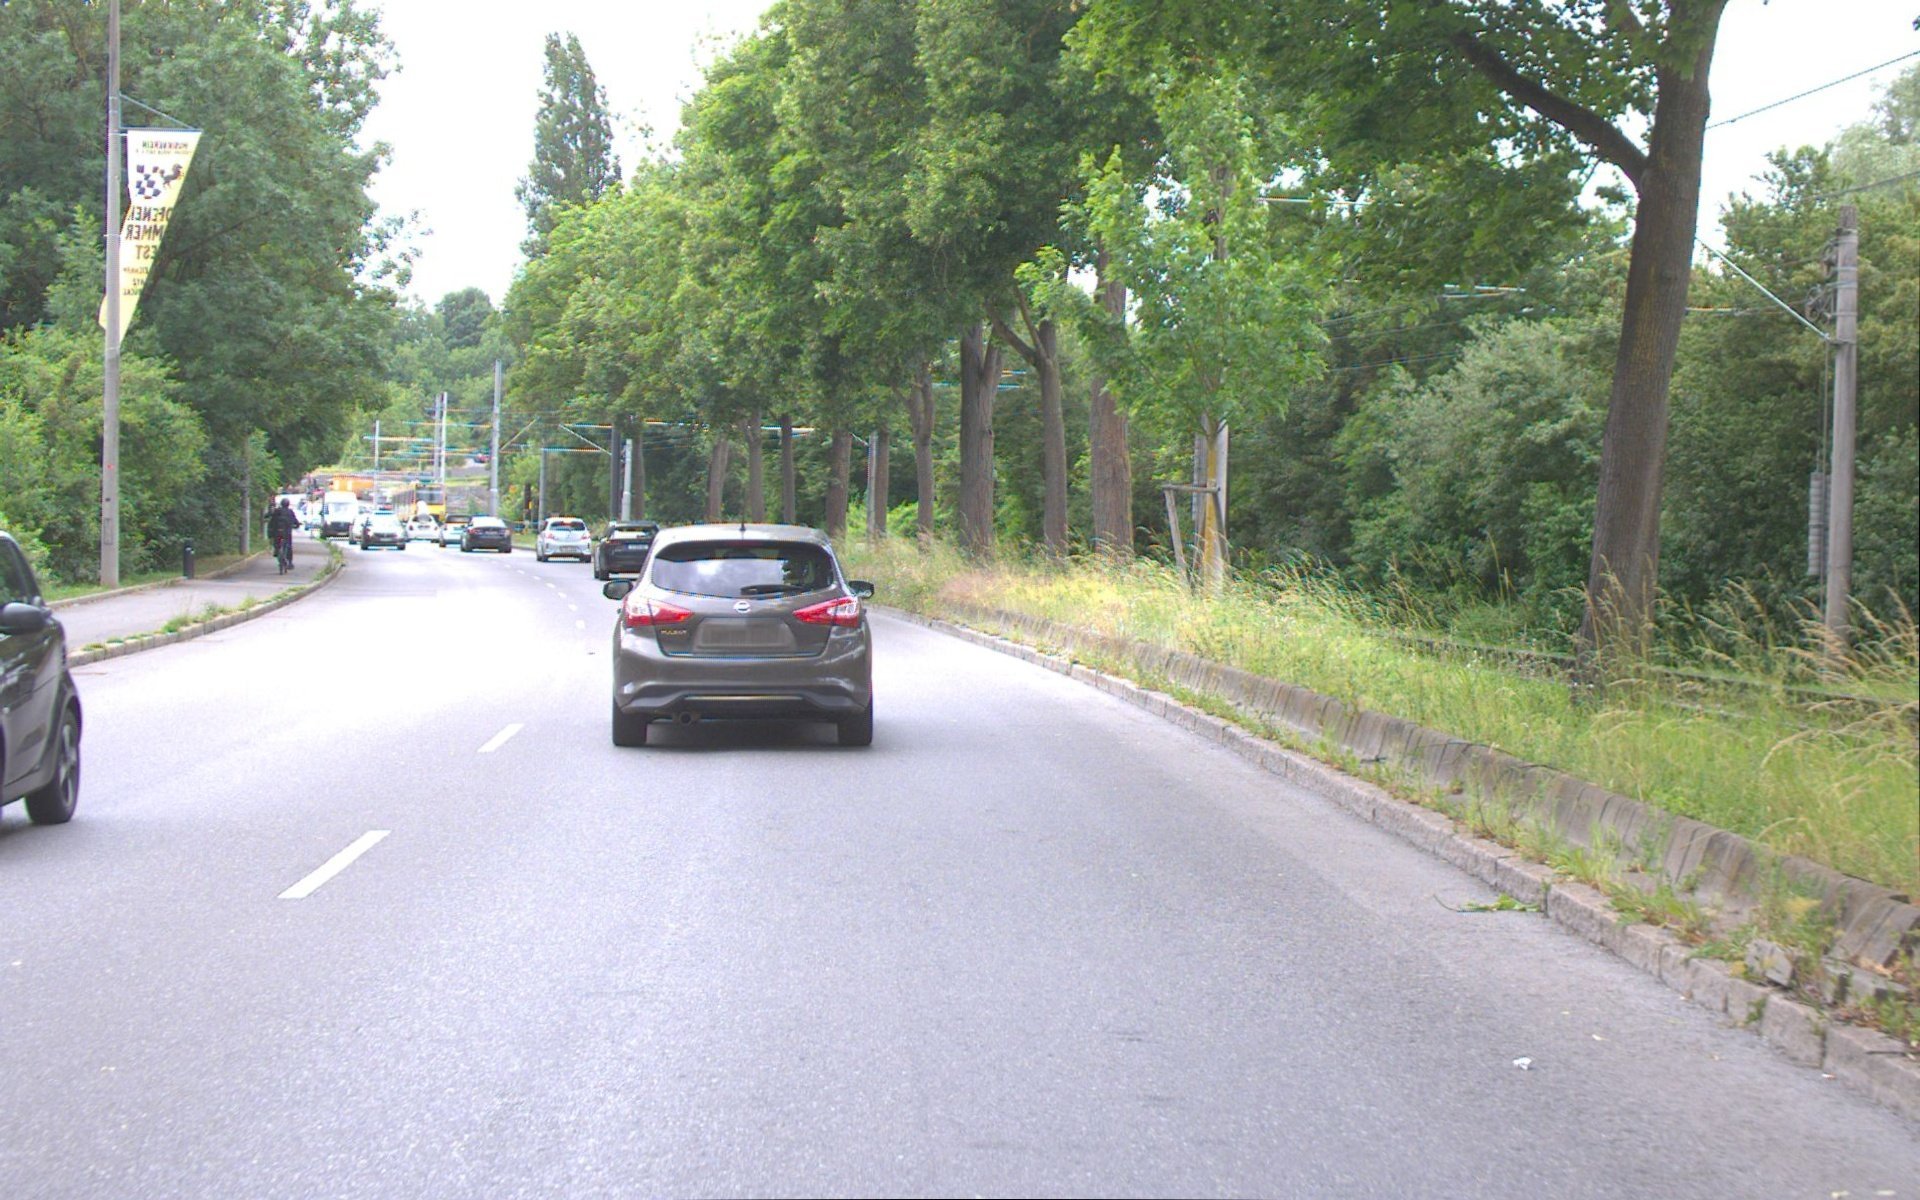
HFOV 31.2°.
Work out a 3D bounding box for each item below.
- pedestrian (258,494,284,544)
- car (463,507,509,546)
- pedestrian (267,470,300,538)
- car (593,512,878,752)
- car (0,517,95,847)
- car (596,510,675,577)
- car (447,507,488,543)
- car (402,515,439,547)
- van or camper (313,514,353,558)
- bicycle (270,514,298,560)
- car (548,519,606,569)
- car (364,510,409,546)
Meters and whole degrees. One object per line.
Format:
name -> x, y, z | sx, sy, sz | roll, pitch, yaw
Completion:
pedestrian -> -23.115, -2.712, 115.366 | 0.695, 1.616, 0.684 | 3, 2, -7
car -> -19.731, -3.067, 143.068 | 1.775, 1.467, 4.001 | 3, 2, -8
pedestrian -> -15.948, -2.268, 81.075 | 0.617, 1.566, 0.849 | 3, 2, -6
car -> -1.682, 0.162, 24.542 | 1.815, 1.503, 4.001 | 0, 2, -7
car -> -5.203, 0.350, 16.339 | 1.595, 1.500, 3.029 | 0, 1, -4
car -> -8.023, -1.428, 85.217 | 1.775, 1.467, 4.001 | 3, 2, -4
car -> -22.485, -3.435, 156.883 | 1.775, 1.467, 4.001 | 2, 2, -8
car -> -27.949, -3.589, 178.253 | 1.775, 1.467, 4.001 | 3, 2, -8
van or camper -> -33.917, -3.467, 185.953 | 1.925, 2.143, 3.933 | 3, 2, -11
bicycle -> -15.958, -1.498, 81.163 | 0.488, 1.027, 1.124 | 3, 2, -6
car -> -12.797, -1.889, 114.972 | 1.775, 1.467, 4.001 | 3, 2, -5
car -> -24.592, -3.079, 147.505 | 1.748, 1.459, 3.921 | 2, 1, -8
